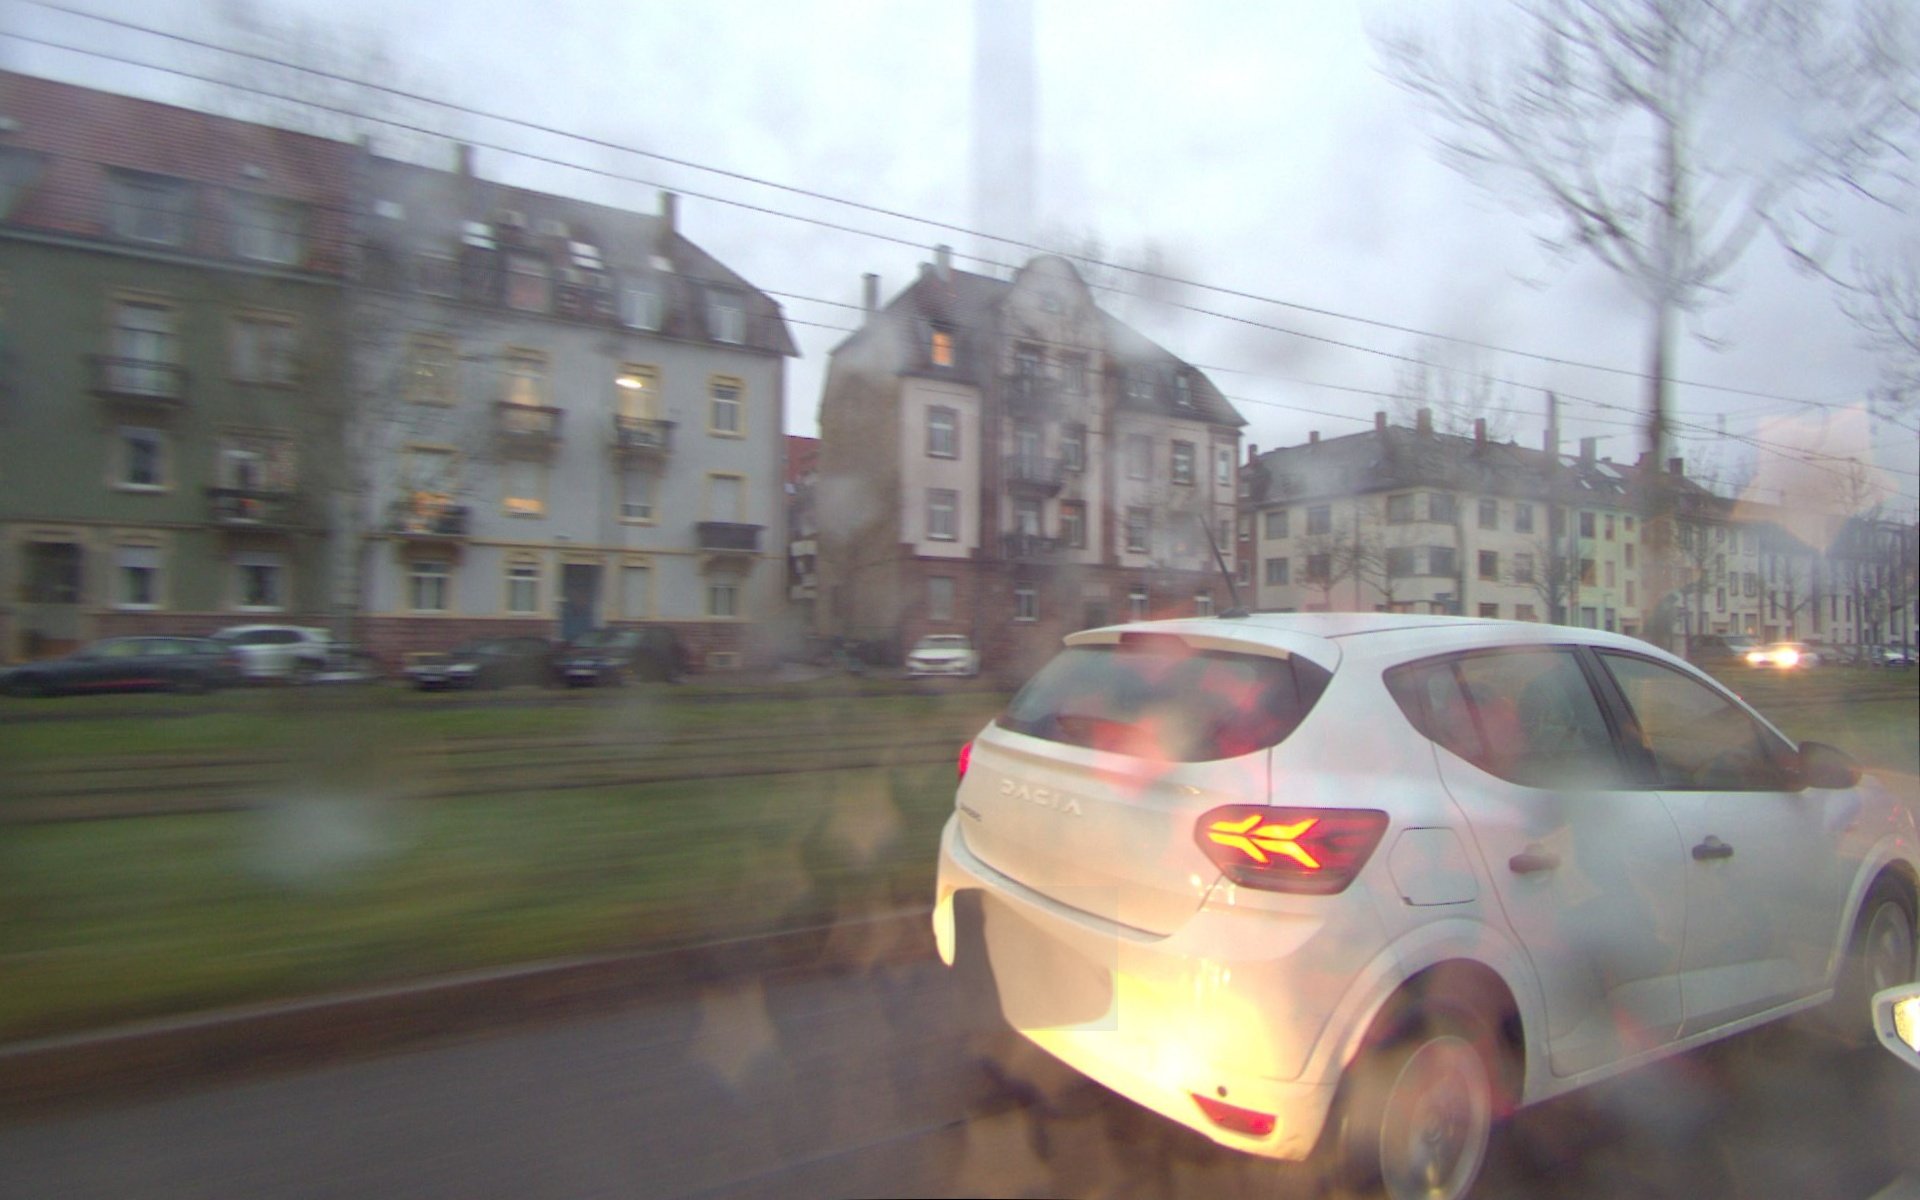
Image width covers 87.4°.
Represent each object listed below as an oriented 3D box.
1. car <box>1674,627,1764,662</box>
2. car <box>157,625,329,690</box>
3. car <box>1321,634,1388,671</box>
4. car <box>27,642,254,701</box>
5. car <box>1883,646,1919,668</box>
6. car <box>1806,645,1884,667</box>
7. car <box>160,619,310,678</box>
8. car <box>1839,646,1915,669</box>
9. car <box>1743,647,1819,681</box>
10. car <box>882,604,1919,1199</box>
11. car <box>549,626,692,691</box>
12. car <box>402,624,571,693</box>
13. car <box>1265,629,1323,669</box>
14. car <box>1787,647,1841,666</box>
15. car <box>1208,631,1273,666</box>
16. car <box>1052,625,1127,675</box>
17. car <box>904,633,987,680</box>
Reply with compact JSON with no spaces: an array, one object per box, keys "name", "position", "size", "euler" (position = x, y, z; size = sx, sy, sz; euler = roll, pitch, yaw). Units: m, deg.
[{"name":"car","position":[43.070,2.482,57.139],"size":[1.796,1.746,4.661],"euler":[1,0,4]},{"name":"car","position":[-18.836,1.496,26.588],"size":[3.496,1.572,1.672],"euler":[2,-1,-30]},{"name":"car","position":[16.118,2.108,41.219],"size":[1.677,1.176,4.107],"euler":[3,1,9]},{"name":"car","position":[-18.443,1.586,22.826],"size":[3.859,1.184,1.222],"euler":[2,-1,-34]},{"name":"car","position":[66.004,3.936,69.493],"size":[1.703,1.354,2.938],"euler":[1,0,3]},{"name":"car","position":[56.672,3.547,64.402],"size":[1.703,1.188,3.823],"euler":[1,0,3]},{"name":"car","position":[-20.461,1.374,28.507],"size":[3.229,1.550,1.603],"euler":[2,-1,-29]},{"name":"car","position":[60.034,3.722,65.858],"size":[1.702,1.262,3.846],"euler":[1,0,6]},{"name":"car","position":[39.118,3.032,47.861],"size":[3.738,1.524,1.539],"euler":[2,-1,-29]},{"name":"car","position":[1.873,0.820,3.618],"size":[3.954,1.494,1.680],"euler":[2,-1,-30]},{"name":"car","position":[-8.725,1.447,26.299],"size":[1.660,1.451,4.667],"euler":[1,-1,7]},{"name":"car","position":[-11.621,1.385,24.971],"size":[1.783,1.467,3.954],"euler":[1,0,11]},{"name":"car","position":[13.042,1.879,39.394],"size":[1.321,1.246,4.046],"euler":[3,1,7]},{"name":"car","position":[53.617,3.562,63.107],"size":[1.408,1.062,2.393],"euler":[1,0,3]},{"name":"car","position":[10.283,1.753,36.957],"size":[1.759,1.003,2.920],"euler":[3,1,5]},{"name":"car","position":[4.313,1.653,33.913],"size":[1.842,1.437,3.361],"euler":[3,-1,-4]},{"name":"car","position":[-0.382,1.744,31.990],"size":[1.796,1.274,4.269],"euler":[1,-1,11]}]
